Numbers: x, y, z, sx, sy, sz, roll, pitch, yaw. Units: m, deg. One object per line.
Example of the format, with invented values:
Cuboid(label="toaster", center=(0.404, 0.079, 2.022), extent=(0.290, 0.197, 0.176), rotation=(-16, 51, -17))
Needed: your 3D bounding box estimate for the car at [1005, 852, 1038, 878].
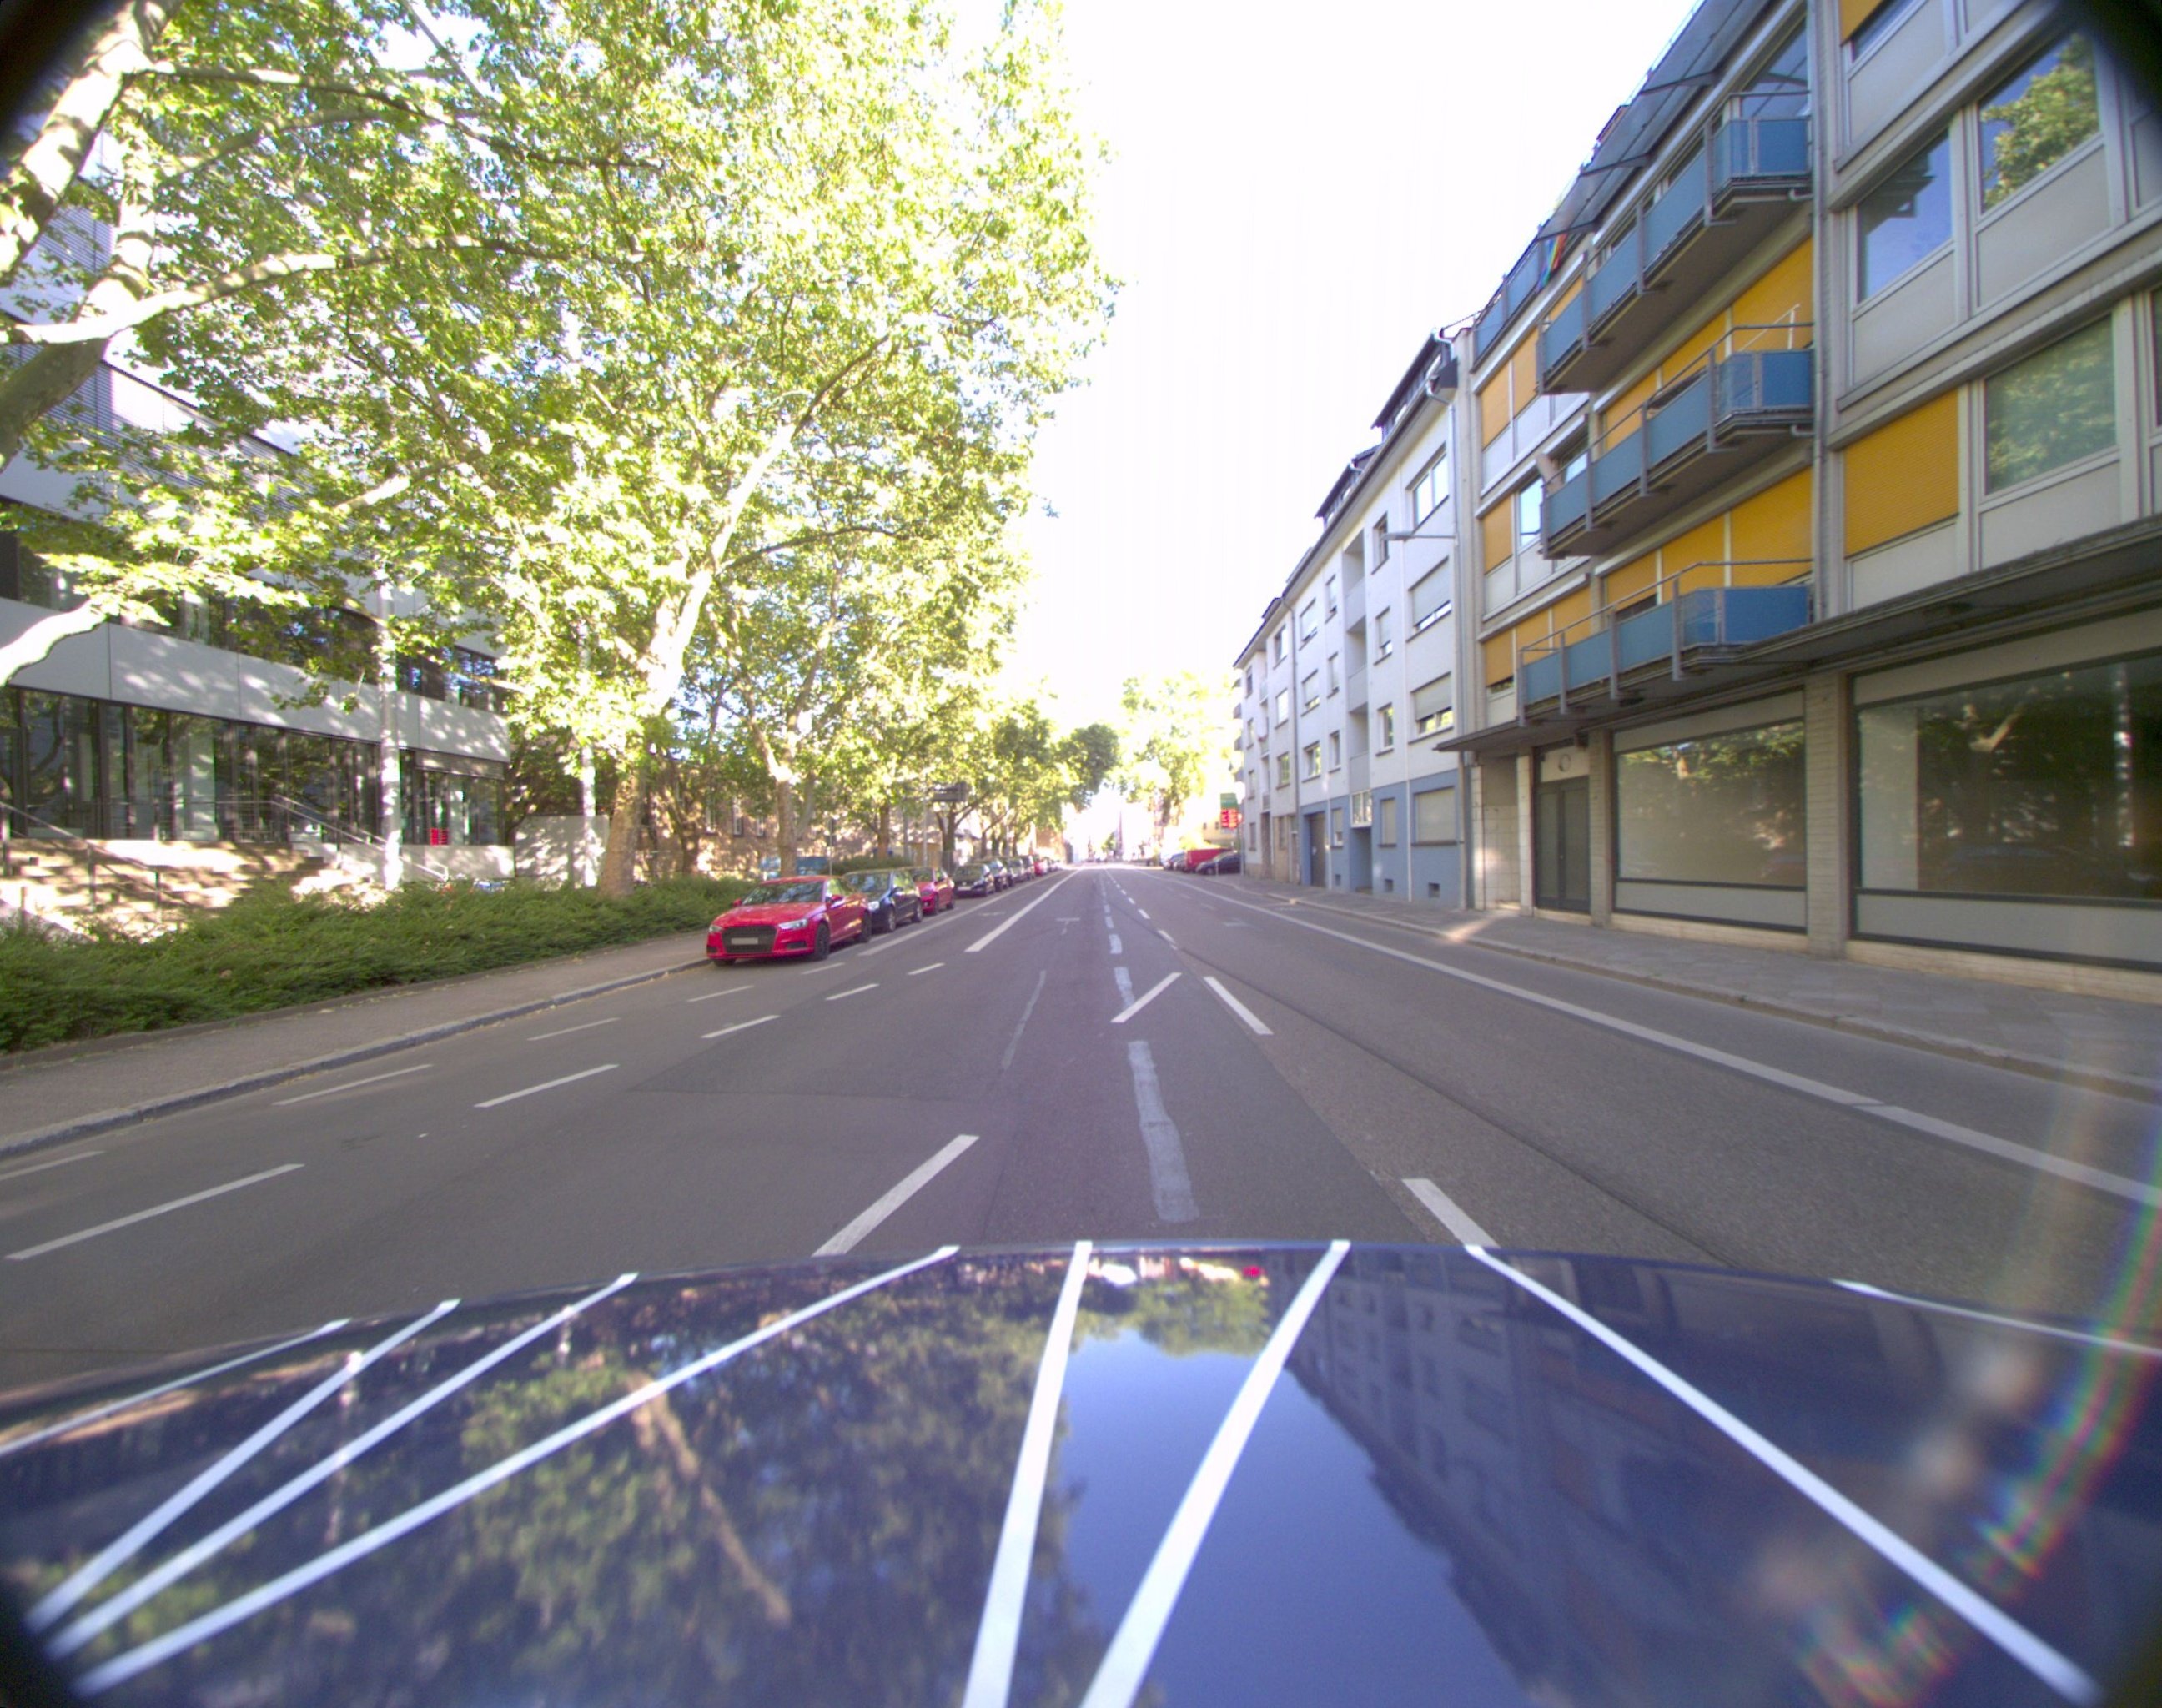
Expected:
Cuboid(label="car", center=(-4.322, 0.794, 55.677), extent=(2.042, 1.745, 4.552), rotation=(-3, 0, 0))

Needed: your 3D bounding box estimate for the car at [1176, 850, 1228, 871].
Cuboid(label="car", center=(9.972, 0.527, 62.860), extent=(3.996, 1.494, 1.761), rotation=(-2, 1, 2))

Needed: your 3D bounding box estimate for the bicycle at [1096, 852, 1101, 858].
Cuboid(label="bicycle", center=(3.908, 0.224, 165.867), extent=(0.717, 1.052, 2.486), rotation=(-2, 1, 9))

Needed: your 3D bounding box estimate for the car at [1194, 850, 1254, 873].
Cuboid(label="car", center=(10.249, 0.547, 54.811), extent=(3.996, 1.449, 1.761), rotation=(-2, 1, 2))

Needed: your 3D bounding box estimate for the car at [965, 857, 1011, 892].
Cuboid(label="car", center=(-4.606, 0.976, 38.147), extent=(1.790, 1.544, 4.163), rotation=(-3, 0, 0))

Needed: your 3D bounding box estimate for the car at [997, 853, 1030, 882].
Cuboid(label="car", center=(-4.451, 0.850, 50.719), extent=(1.790, 1.745, 4.552), rotation=(-3, 0, 0))

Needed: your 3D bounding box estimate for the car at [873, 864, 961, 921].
Cuboid(label="car", center=(-5.034, 1.122, 23.874), extent=(1.818, 1.475, 4.163), rotation=(-3, 0, 0))

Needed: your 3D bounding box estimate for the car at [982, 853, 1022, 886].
Cuboid(label="car", center=(-4.529, 0.866, 44.164), extent=(1.790, 1.745, 4.345), rotation=(-3, 0, 0))

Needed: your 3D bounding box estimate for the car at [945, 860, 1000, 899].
Cuboid(label="car", center=(-4.707, 1.075, 33.401), extent=(1.790, 1.451, 4.163), rotation=(-3, 0, 0))

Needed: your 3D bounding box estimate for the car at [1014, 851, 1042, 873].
Cuboid(label="car", center=(-4.597, 0.696, 66.108), extent=(2.042, 1.745, 4.552), rotation=(-3, 0, 0))

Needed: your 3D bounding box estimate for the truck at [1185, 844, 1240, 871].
Cuboid(label="truck", center=(10.362, 0.246, 60.007), extent=(3.996, 1.925, 1.761), rotation=(-2, 1, 2))

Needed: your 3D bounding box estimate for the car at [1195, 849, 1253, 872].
Cuboid(label="car", center=(10.722, 0.480, 57.158), extent=(3.996, 1.494, 1.761), rotation=(-2, 1, 2))

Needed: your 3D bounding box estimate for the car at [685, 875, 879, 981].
Cuboid(label="car", center=(-5.142, 1.192, 13.735), extent=(1.818, 1.405, 4.163), rotation=(-3, 0, 0))

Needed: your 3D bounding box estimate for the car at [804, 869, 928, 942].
Cuboid(label="car", center=(-5.087, 1.168, 18.591), extent=(1.818, 1.405, 4.163), rotation=(-3, 0, 0))
